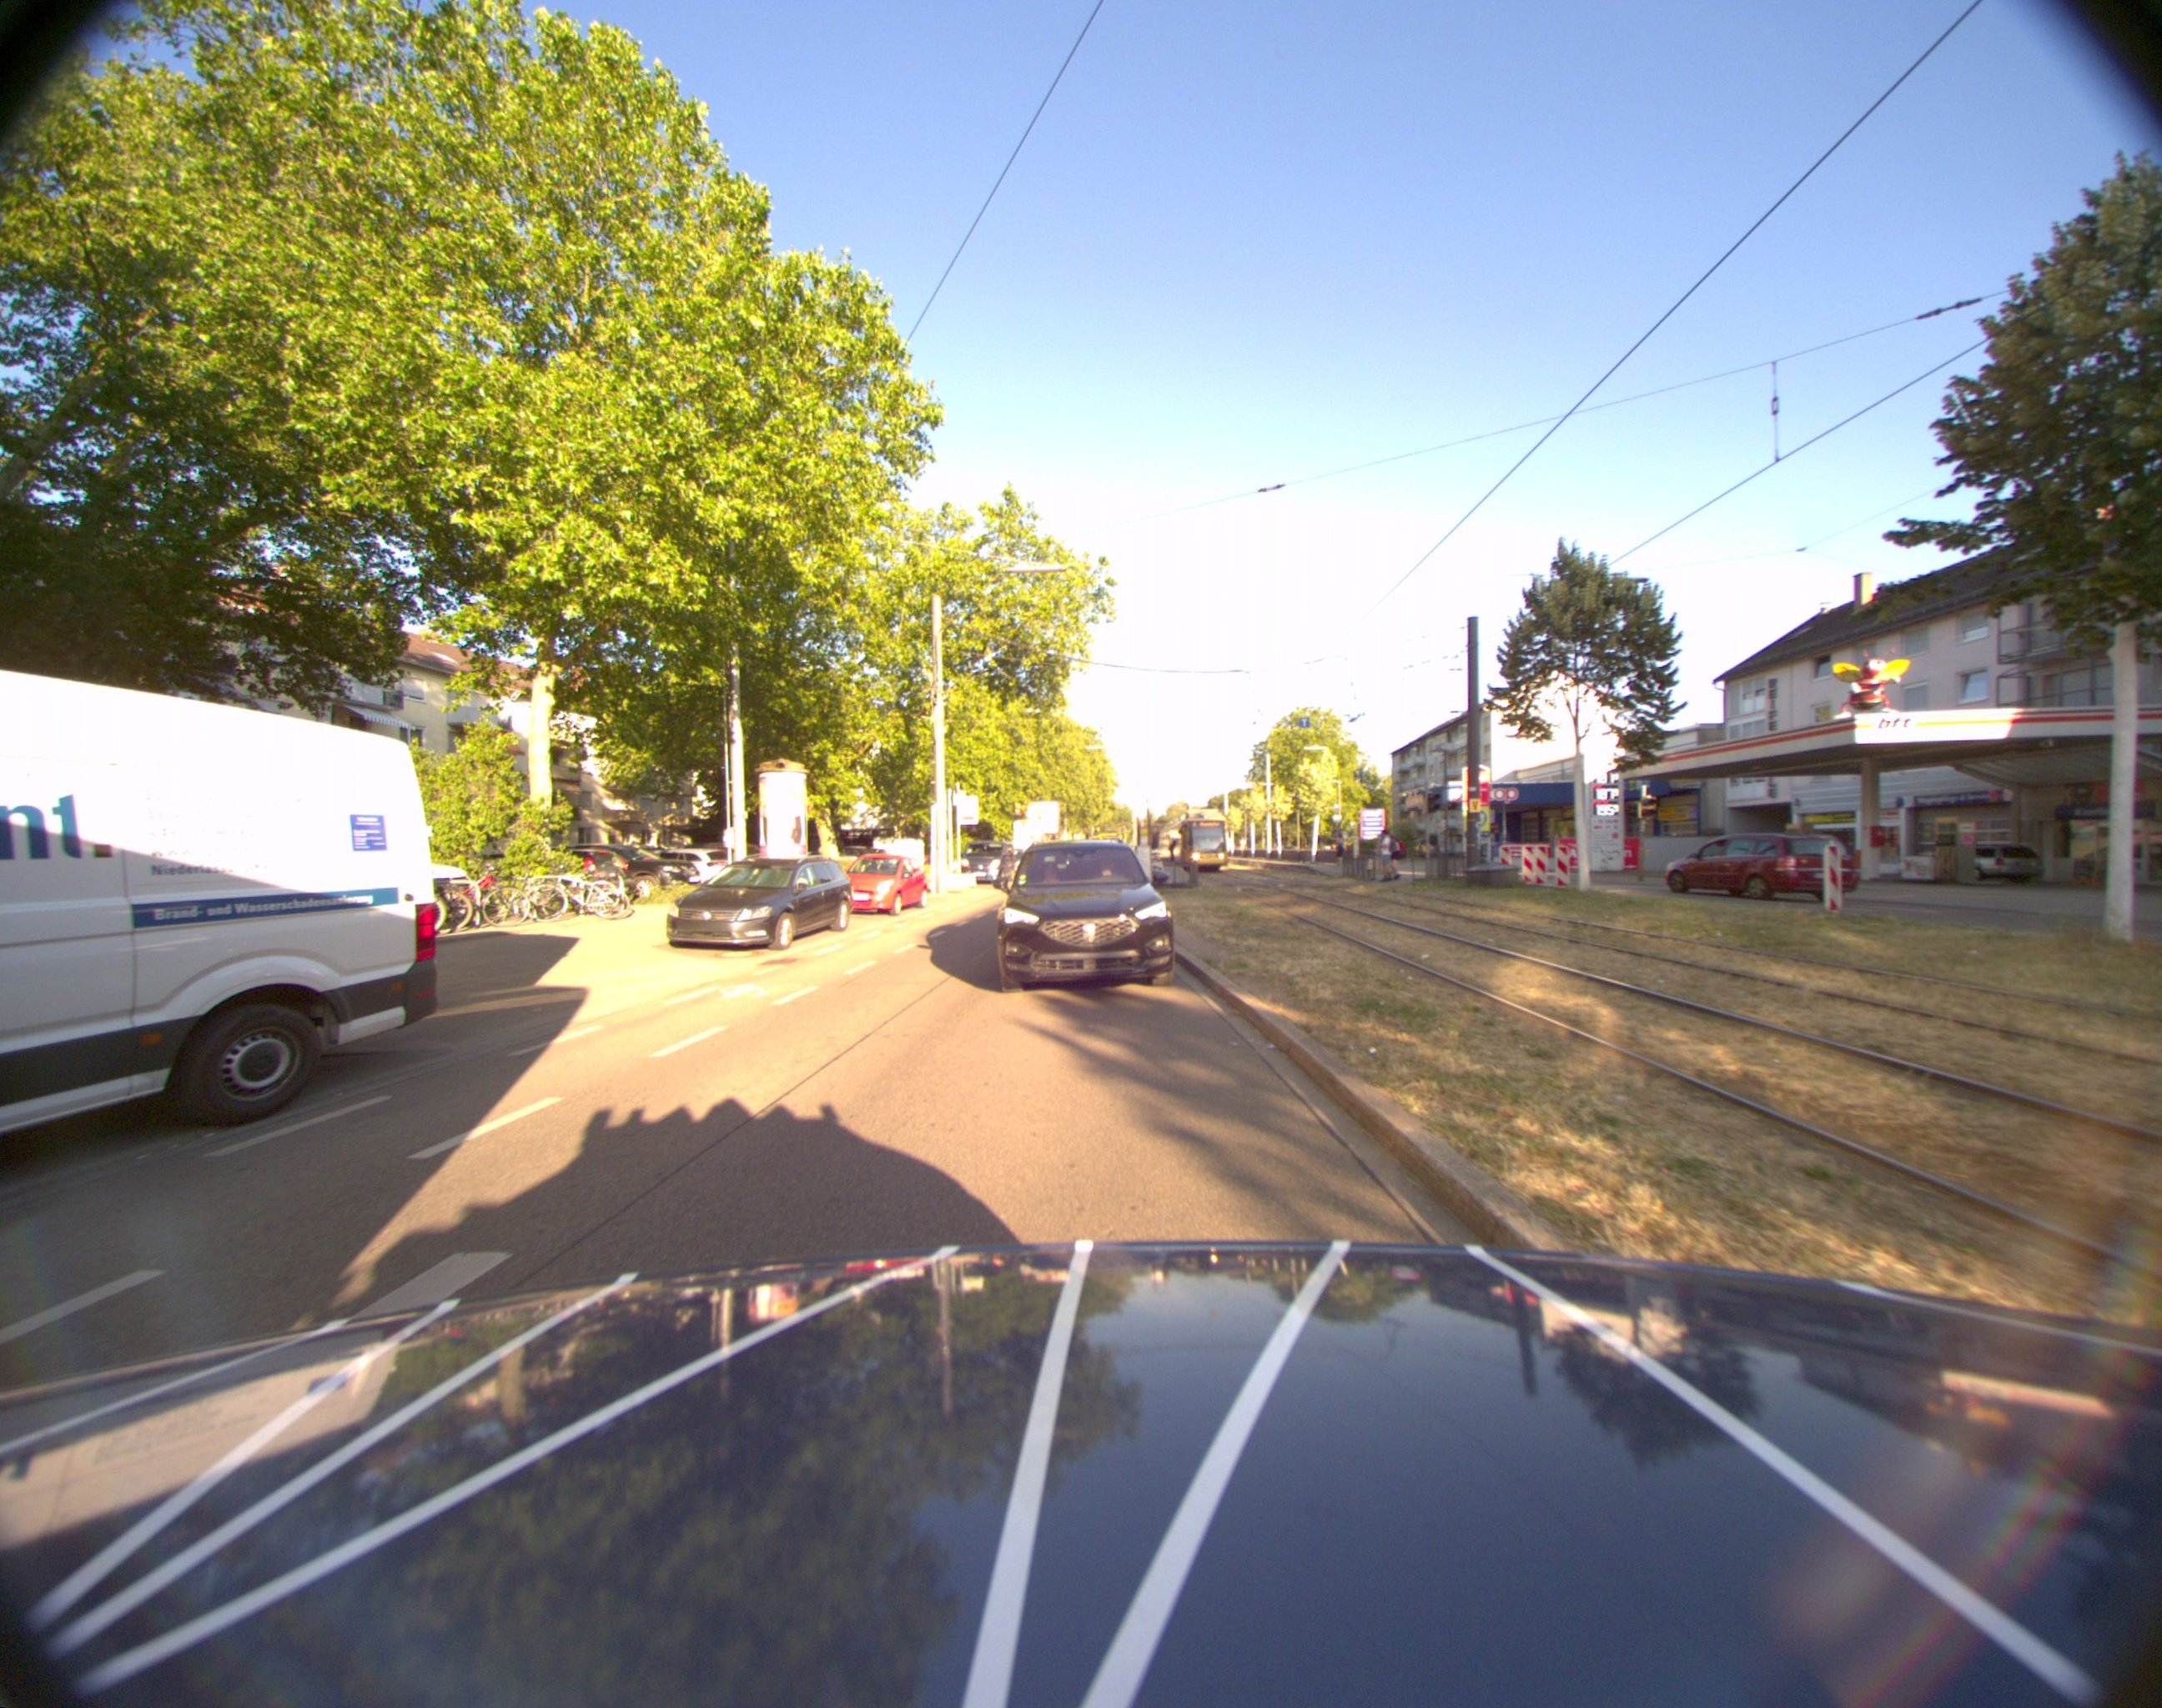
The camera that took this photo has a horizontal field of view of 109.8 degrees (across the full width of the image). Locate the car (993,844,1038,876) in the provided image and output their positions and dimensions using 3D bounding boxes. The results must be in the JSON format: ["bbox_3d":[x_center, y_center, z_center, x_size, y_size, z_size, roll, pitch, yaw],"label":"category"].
[{"bbox_3d":[-3.488,0.308,41.191,1.799,1.621,4.001,0,1,4],"label":"car"}]

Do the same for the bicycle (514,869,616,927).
[{"bbox_3d":[-9.951,0.822,14.701,1.585,1.008,0.649,-1,1,-34],"label":"bicycle"}]

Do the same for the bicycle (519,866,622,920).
[{"bbox_3d":[-10.287,0.761,15.353,1.683,1.008,0.649,-1,1,-34],"label":"bicycle"}]

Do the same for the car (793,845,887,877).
[{"bbox_3d":[-12.153,0.345,38.409,4.120,1.590,1.803,0,1,5],"label":"car"}]

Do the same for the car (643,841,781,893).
[{"bbox_3d":[-12.816,0.436,26.558,3.848,1.622,1.857,-2,1,5],"label":"car"}]

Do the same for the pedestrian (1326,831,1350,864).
[{"bbox_3d":[13.263,-0.336,39.229,0.936,1.644,0.926,-3,1,4],"label":"pedestrian"}]

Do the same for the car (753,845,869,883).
[{"bbox_3d":[-11.126,0.392,31.460,4.120,1.486,1.803,0,1,5],"label":"car"}]

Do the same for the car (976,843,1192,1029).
[{"bbox_3d":[-0.006,0.731,8.995,1.910,1.606,4.084,-3,1,-1],"label":"car"}]

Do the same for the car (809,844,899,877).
[{"bbox_3d":[-12.092,0.343,40.636,4.120,1.541,1.803,-3,1,5],"label":"car"}]

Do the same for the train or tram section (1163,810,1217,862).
[{"bbox_3d":[7.868,-1.347,56.228,3.042,3.498,10.096,1,1,3],"label":"train or tram section"}]

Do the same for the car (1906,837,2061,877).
[{"bbox_3d":[35.791,0.085,30.302,1.815,1.515,3.830,0,1,6],"label":"car"}]

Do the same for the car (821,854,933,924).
[{"bbox_3d":[-5.020,0.797,19.174,1.573,1.486,3.626,2,1,4],"label":"car"}]

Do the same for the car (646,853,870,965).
[{"bbox_3d":[-5.425,0.811,13.532,1.700,1.522,4.653,2,1,4],"label":"car"}]

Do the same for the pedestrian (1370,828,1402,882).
[{"bbox_3d":[10.972,0.033,27.328,0.860,1.921,0.755,0,1,2],"label":"pedestrian"}]

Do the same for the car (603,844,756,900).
[{"bbox_3d":[-12.779,0.551,24.312,3.848,1.486,1.857,-3,1,5],"label":"car"}]

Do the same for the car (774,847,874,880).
[{"bbox_3d":[-12.211,0.444,36.212,4.120,1.486,1.803,0,1,5],"label":"car"}]

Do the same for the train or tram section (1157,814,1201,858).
[{"bbox_3d":[8.393,-1.598,66.292,3.042,3.498,10.096,1,1,3],"label":"train or tram section"}]

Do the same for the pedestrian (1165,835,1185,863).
[{"bbox_3d":[5.273,-0.272,42.559,0.918,1.541,0.789,-2,1,-4],"label":"pedestrian"}]

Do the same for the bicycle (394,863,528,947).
[{"bbox_3d":[-10.060,0.793,12.408,1.585,1.220,0.649,-3,2,-34],"label":"bicycle"}]

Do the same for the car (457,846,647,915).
[{"bbox_3d":[-13.329,0.637,19.289,3.505,1.474,1.774,-3,1,3],"label":"car"}]

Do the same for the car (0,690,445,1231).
[{"bbox_3d":[-6.095,0.472,2.981,2.021,2.537,5.785,3,1,4],"label":"car"}]

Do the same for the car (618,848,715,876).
[{"bbox_3d":[-22.985,0.421,42.242,4.292,1.487,2.000,-1,1,0],"label":"car"}]

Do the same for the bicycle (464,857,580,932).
[{"bbox_3d":[-9.901,0.681,13.489,1.586,1.220,0.645,-1,2,-43],"label":"bicycle"}]

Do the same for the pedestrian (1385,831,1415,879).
[{"bbox_3d":[11.828,0.034,28.167,0.755,1.737,0.860,0,1,1],"label":"pedestrian"}]

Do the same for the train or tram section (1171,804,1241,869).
[{"bbox_3d":[7.353,-1.091,46.139,3.042,3.498,10.096,1,1,3],"label":"train or tram section"}]

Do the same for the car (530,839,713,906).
[{"bbox_3d":[-13.026,0.505,21.698,4.030,1.591,1.856,-3,1,3],"label":"car"}]

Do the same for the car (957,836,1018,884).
[{"bbox_3d":[-4.182,0.229,34.815,1.889,2.066,4.563,-1,1,4],"label":"car"}]

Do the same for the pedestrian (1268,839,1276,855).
[{"bbox_3d":[23.516,-0.869,93.588,0.754,1.871,1.000,-3,1,3],"label":"pedestrian"}]

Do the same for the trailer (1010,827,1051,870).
[{"bbox_3d":[-3.136,-0.371,48.044,1.889,2.573,4.651,-1,1,4],"label":"trailer"}]

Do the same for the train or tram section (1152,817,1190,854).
[{"bbox_3d":[8.905,-1.846,76.387,3.042,3.498,10.096,1,1,3],"label":"train or tram section"}]

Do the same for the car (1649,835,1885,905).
[{"bbox_3d":[17.105,0.287,19.384,1.816,1.551,4.935,0,2,5],"label":"car"}]
